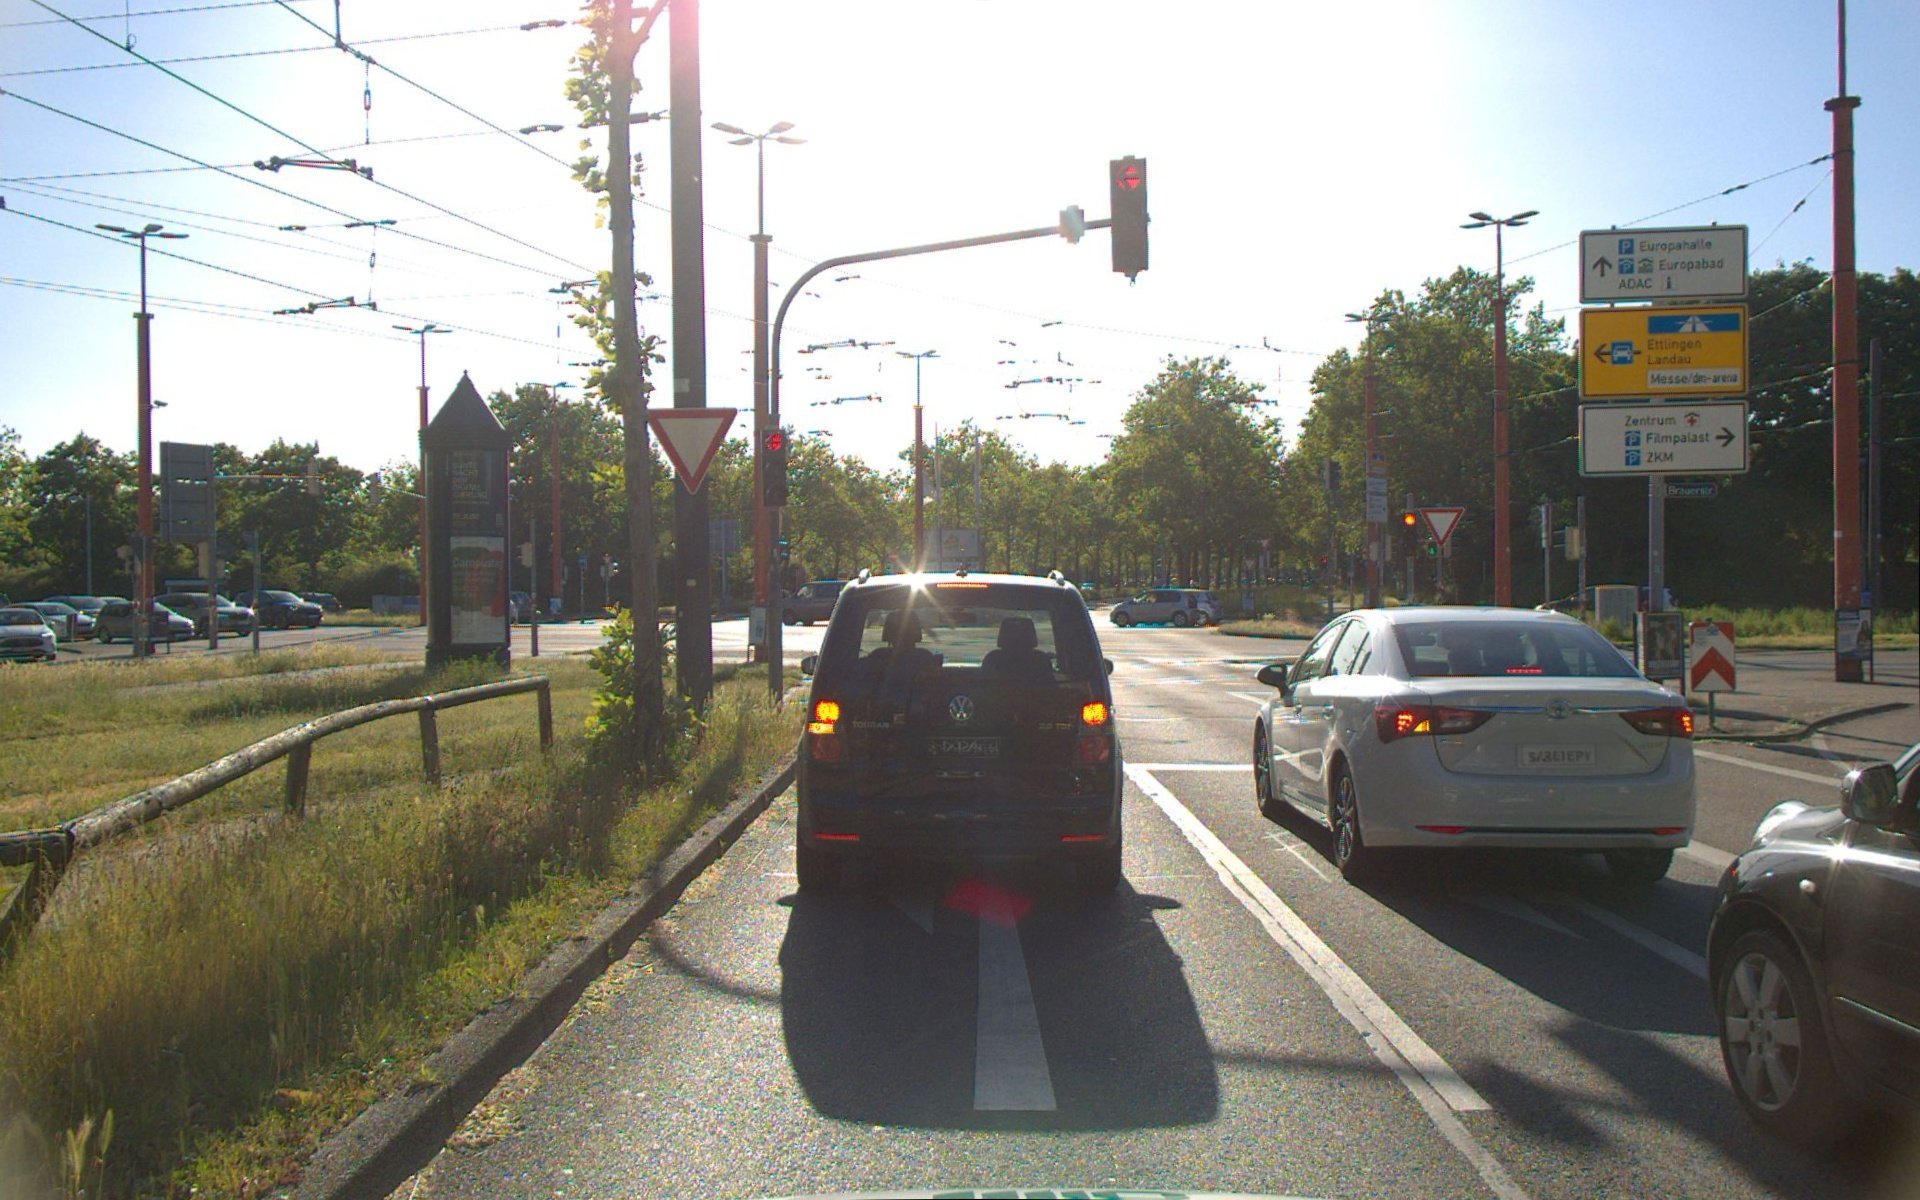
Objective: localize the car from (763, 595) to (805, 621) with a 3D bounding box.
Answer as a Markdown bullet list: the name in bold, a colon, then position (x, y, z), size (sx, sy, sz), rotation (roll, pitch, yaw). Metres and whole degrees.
- **car**: position (-11.552, 0.542, 108.830), size (1.874, 1.664, 4.003), rotation (1, 0, 6)

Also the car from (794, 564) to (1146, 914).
- **car**: position (0.012, 0.647, 9.787), size (1.666, 1.650, 3.896), rotation (0, 0, -1)

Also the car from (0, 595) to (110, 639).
- **car**: position (-34.678, 0.626, 63.158), size (4.091, 1.640, 1.867), rotation (0, 0, 25)

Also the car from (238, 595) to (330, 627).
- **car**: position (-29.274, 0.472, 71.574), size (3.913, 1.353, 1.694), rotation (0, 0, 31)

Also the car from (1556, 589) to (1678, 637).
- **car**: position (23.193, 0.445, 58.448), size (3.942, 1.624, 2.000), rotation (0, 0, 23)

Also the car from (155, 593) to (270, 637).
- **car**: position (-28.975, 0.571, 64.098), size (3.907, 1.673, 1.999), rotation (0, 0, 24)

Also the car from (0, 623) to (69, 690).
- **car**: position (-27.230, 1.577, 47.569), size (1.981, 1.761, 4.777), rotation (0, 0, -39)

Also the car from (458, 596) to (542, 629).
- **car**: position (-24.167, 0.654, 86.876), size (4.039, 1.672, 1.851), rotation (0, 0, 26)

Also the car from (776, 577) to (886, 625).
- **car**: position (-5.694, 0.046, 73.052), size (4.478, 2.049, 1.999), rotation (0, 0, 24)

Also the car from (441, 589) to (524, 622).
- **car**: position (-23.508, 0.263, 81.357), size (3.743, 1.549, 1.694), rotation (0, 0, 25)

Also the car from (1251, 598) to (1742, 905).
- **car**: position (2.976, 0.730, 10.128), size (1.685, 1.463, 4.198), rotation (1, 0, 1)

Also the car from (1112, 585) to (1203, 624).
- **car**: position (7.826, 0.174, 65.578), size (3.325, 1.483, 1.465), rotation (0, 0, 22)

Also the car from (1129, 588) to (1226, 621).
- **car**: position (9.142, 0.185, 69.650), size (3.751, 1.286, 1.602), rotation (1, 0, 23)

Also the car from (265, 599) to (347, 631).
- **car**: position (-34.569, 0.781, 87.406), size (4.039, 1.626, 1.827), rotation (0, 0, 27)

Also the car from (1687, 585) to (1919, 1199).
- **car**: position (3.187, 0.742, 3.580), size (1.620, 1.526, 3.614), rotation (1, 0, 0)

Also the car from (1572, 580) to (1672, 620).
- **car**: position (24.668, 0.005, 61.610), size (3.368, 1.392, 1.289), rotation (1, 0, 26)
